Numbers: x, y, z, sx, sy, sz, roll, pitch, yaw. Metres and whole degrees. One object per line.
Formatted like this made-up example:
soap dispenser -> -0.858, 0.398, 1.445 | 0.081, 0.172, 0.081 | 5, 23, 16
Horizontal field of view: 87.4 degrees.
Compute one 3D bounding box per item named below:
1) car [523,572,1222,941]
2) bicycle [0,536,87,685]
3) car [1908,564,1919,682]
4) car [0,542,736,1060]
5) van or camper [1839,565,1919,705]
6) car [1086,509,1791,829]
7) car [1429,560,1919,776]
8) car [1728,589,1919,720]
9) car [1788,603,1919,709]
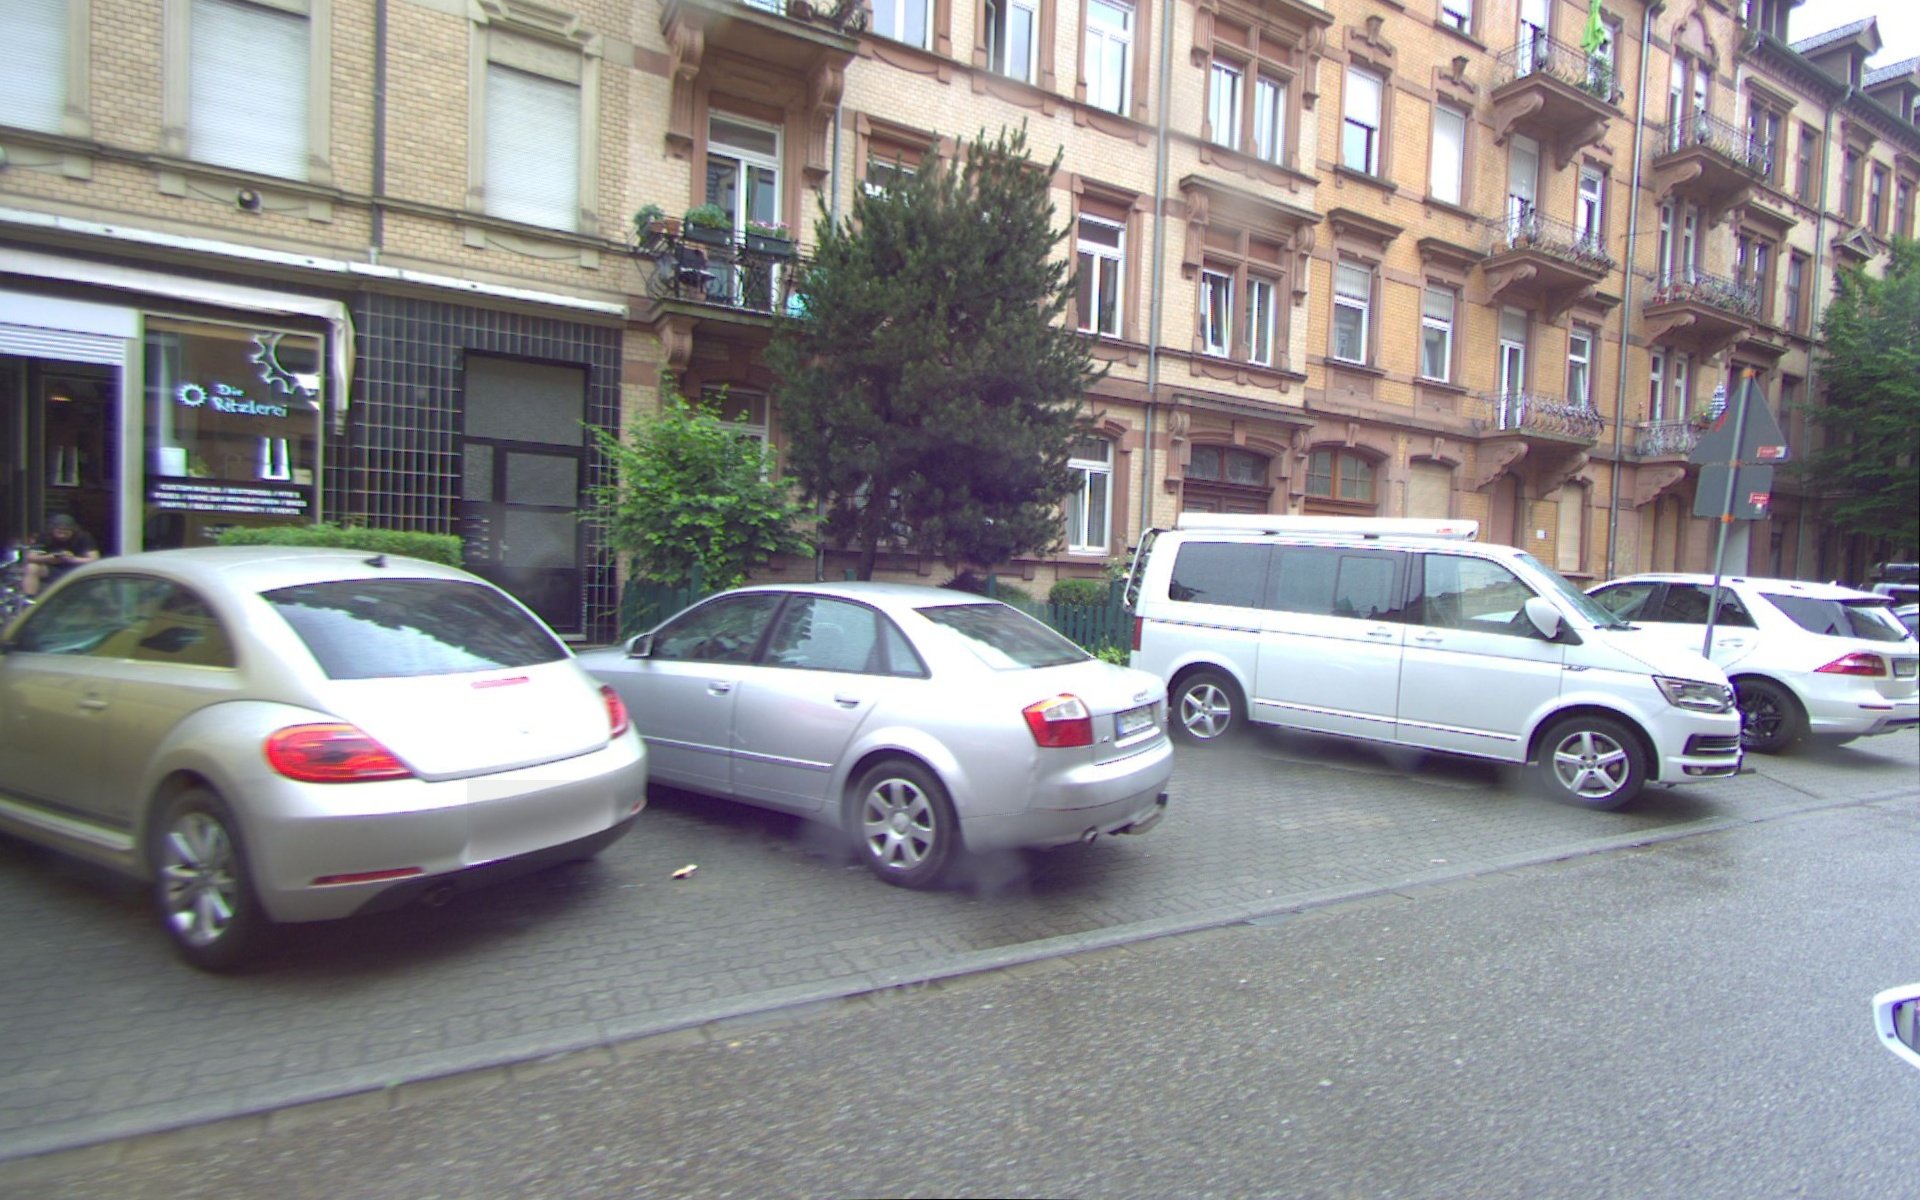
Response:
car -> -0.646, 0.646, 6.095 | 3.931, 1.455, 1.780 | 3, 2, 33
bicycle -> -8.283, 0.061, 8.768 | 0.624, 1.190, 2.027 | 1, 1, -31
car -> 22.980, 0.617, 20.032 | 5.479, 2.575, 2.222 | 3, 2, 34
car -> -3.218, 0.540, 4.831 | 3.849, 1.515, 1.959 | 3, 1, 30
van or camper -> 18.583, 0.680, 17.202 | 4.942, 2.381, 2.337 | 3, 2, 35
car -> 3.874, 0.341, 8.905 | 5.168, 2.106, 1.863 | 4, 2, 37
car -> 8.411, 0.572, 11.820 | 2.515, 1.809, 4.556 | 1, 4, -30
car -> 13.959, 0.831, 14.483 | 4.372, 1.653, 1.838 | 6, 4, 35
car -> 15.958, 0.968, 15.872 | 4.289, 1.525, 1.747 | 5, 4, 39
